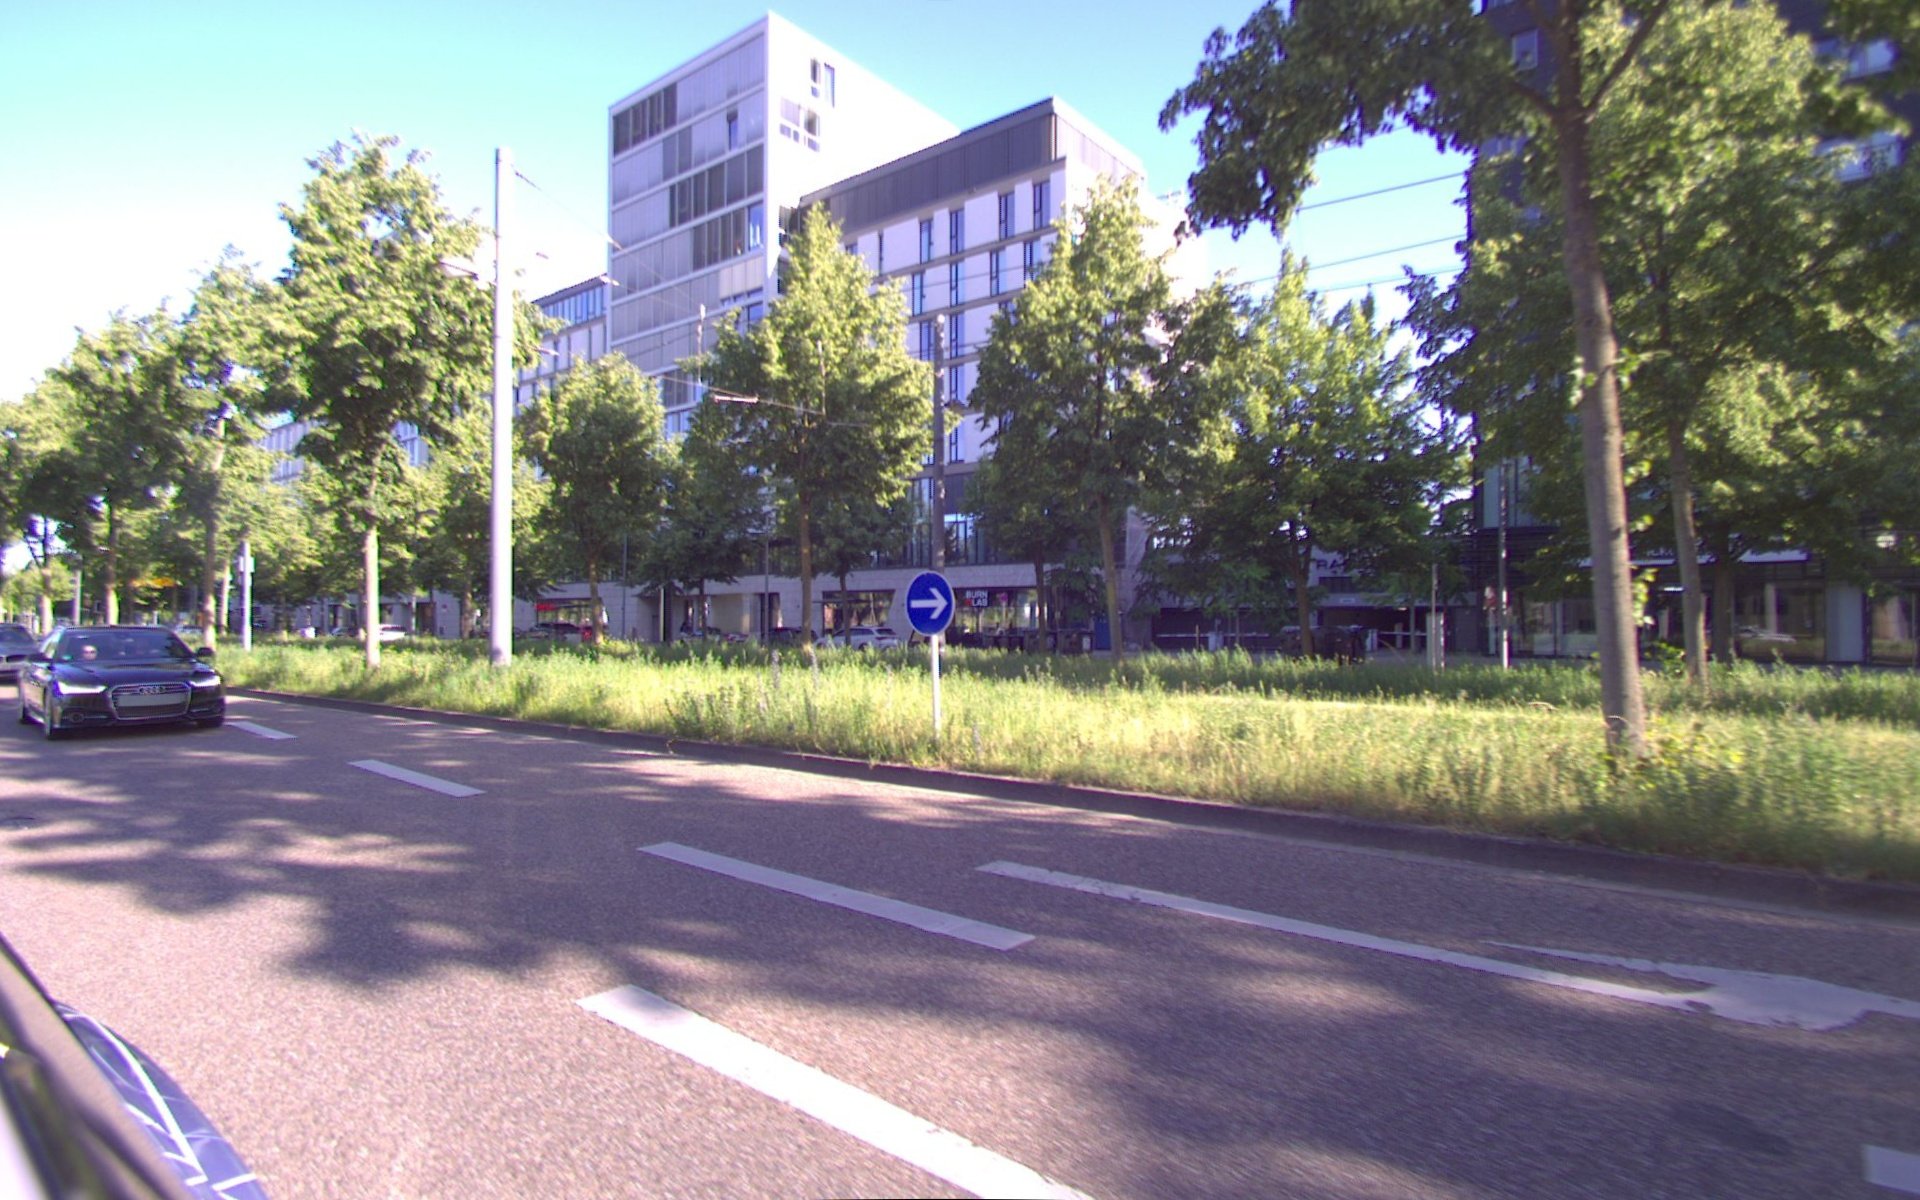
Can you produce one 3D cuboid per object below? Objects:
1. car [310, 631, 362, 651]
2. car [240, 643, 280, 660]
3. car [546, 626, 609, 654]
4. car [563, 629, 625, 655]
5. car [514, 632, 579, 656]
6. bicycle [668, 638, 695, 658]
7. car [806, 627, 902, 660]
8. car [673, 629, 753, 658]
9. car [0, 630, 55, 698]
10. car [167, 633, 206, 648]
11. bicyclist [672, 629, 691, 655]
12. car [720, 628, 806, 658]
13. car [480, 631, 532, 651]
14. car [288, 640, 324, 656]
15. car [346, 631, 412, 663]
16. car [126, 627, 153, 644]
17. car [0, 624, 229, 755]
[{"bbox_3d":[-42.123,2.734,68.300,3.995,1.273,1.780,-2,-2,39],"label":"car"},{"bbox_3d":[-67.137,4.937,97.005,4.540,1.431,1.979,-1,-2,39],"label":"car"},{"bbox_3d":[-26.450,2.764,69.879,5.124,1.790,1.780,-2,-1,40],"label":"car"},{"bbox_3d":[-21.632,2.472,59.804,3.749,1.364,1.717,-1,2,39],"label":"car"},{"bbox_3d":[-26.160,2.774,63.926,4.799,1.430,1.652,-1,-2,39],"label":"car"},{"bbox_3d":[-15.952,2.738,57.933,1.570,1.128,0.725,-1,-1,41],"label":"bicycle"},{"bbox_3d":[-4.883,1.953,46.314,4.540,1.431,1.698,-1,-1,39],"label":"car"},{"bbox_3d":[-13.018,2.276,53.174,4.540,1.431,1.698,-2,-2,39],"label":"car"},{"bbox_3d":[-24.451,1.556,25.406,4.522,1.581,1.826,-1,-2,38],"label":"car"},{"bbox_3d":[-70.445,3.694,92.144,4.305,1.302,1.780,-2,-3,38],"label":"car"},{"bbox_3d":[-15.941,2.389,57.928,0.831,1.474,0.713,-1,-1,41],"label":"bicyclist"},{"bbox_3d":[-9.681,2.095,49.601,4.542,1.431,1.697,-2,-2,41],"label":"car"},{"bbox_3d":[-30.132,2.702,67.135,3.578,1.217,1.652,-2,-2,38],"label":"car"},{"bbox_3d":[-57.373,4.175,88.767,3.461,1.244,1.634,1,0,39],"label":"car"},{"bbox_3d":[-33.205,2.663,57.815,4.315,1.701,1.780,-2,-1,39],"label":"car"},{"bbox_3d":[-100.309,4.312,123.703,3.997,1.940,1.781,1,0,40],"label":"car"},{"bbox_3d":[-12.021,1.122,14.282,4.598,1.538,1.766,-1,-1,41],"label":"car"}]
